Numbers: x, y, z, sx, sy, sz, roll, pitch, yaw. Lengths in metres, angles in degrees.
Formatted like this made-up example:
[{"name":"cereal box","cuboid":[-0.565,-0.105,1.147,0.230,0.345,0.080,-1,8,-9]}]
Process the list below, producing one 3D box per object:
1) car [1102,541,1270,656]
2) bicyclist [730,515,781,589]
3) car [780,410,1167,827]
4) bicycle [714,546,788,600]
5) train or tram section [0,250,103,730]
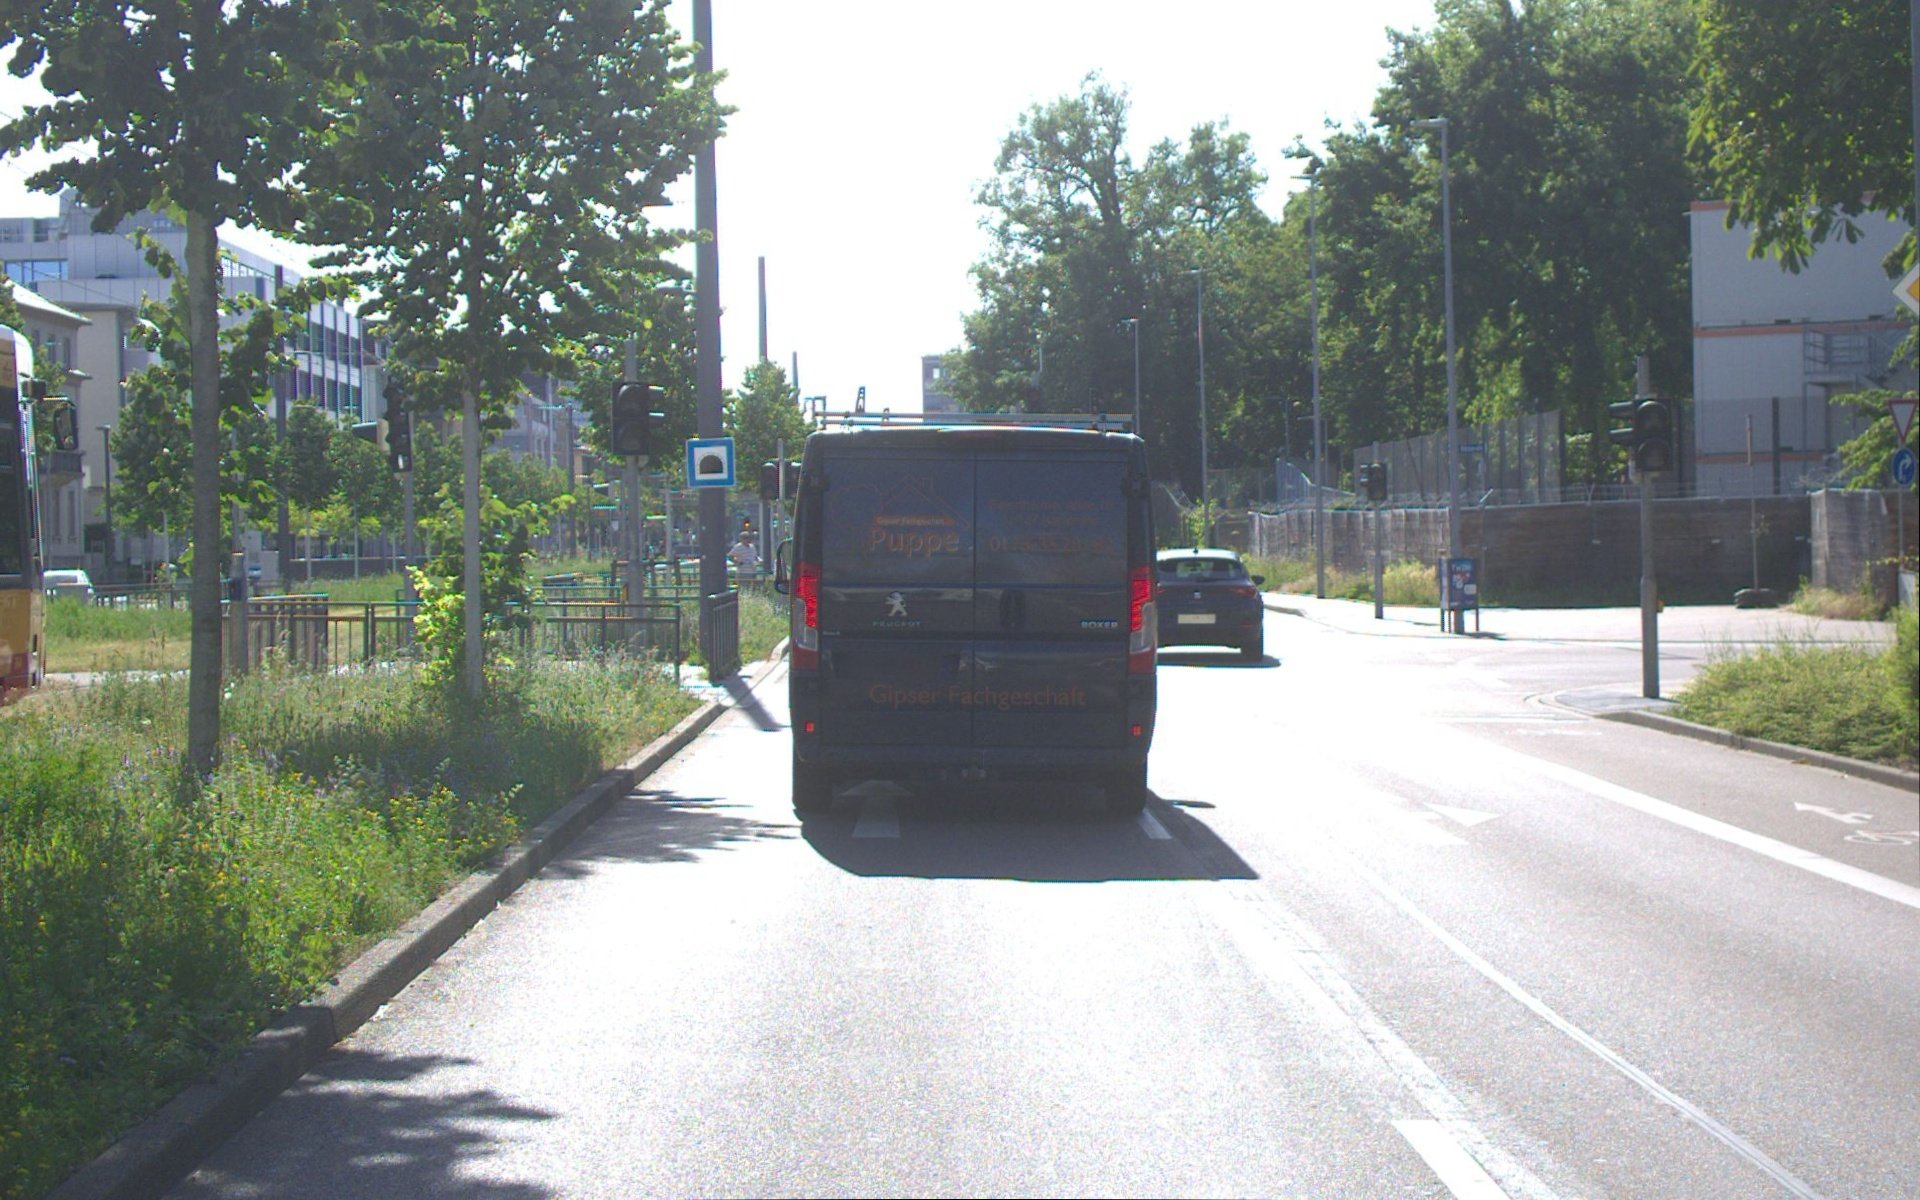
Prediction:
[{"name":"car","cuboid":[2.953,-0.048,45.668,1.763,1.457,4.001,0,1,-3]},{"name":"bicyclist","cuboid":[-4.184,-0.988,70.391,0.826,1.507,0.730,0,1,-26]},{"name":"car","cuboid":[0.018,0.067,20.500,2.082,2.241,4.000,0,1,-2]},{"name":"bicycle","cuboid":[-4.302,-0.565,70.629,0.732,1.087,2.083,0,1,-27]},{"name":"train or tram section","cuboid":[-8.264,-0.798,23.654,1.993,3.656,11.684,0,1,-1]}]
